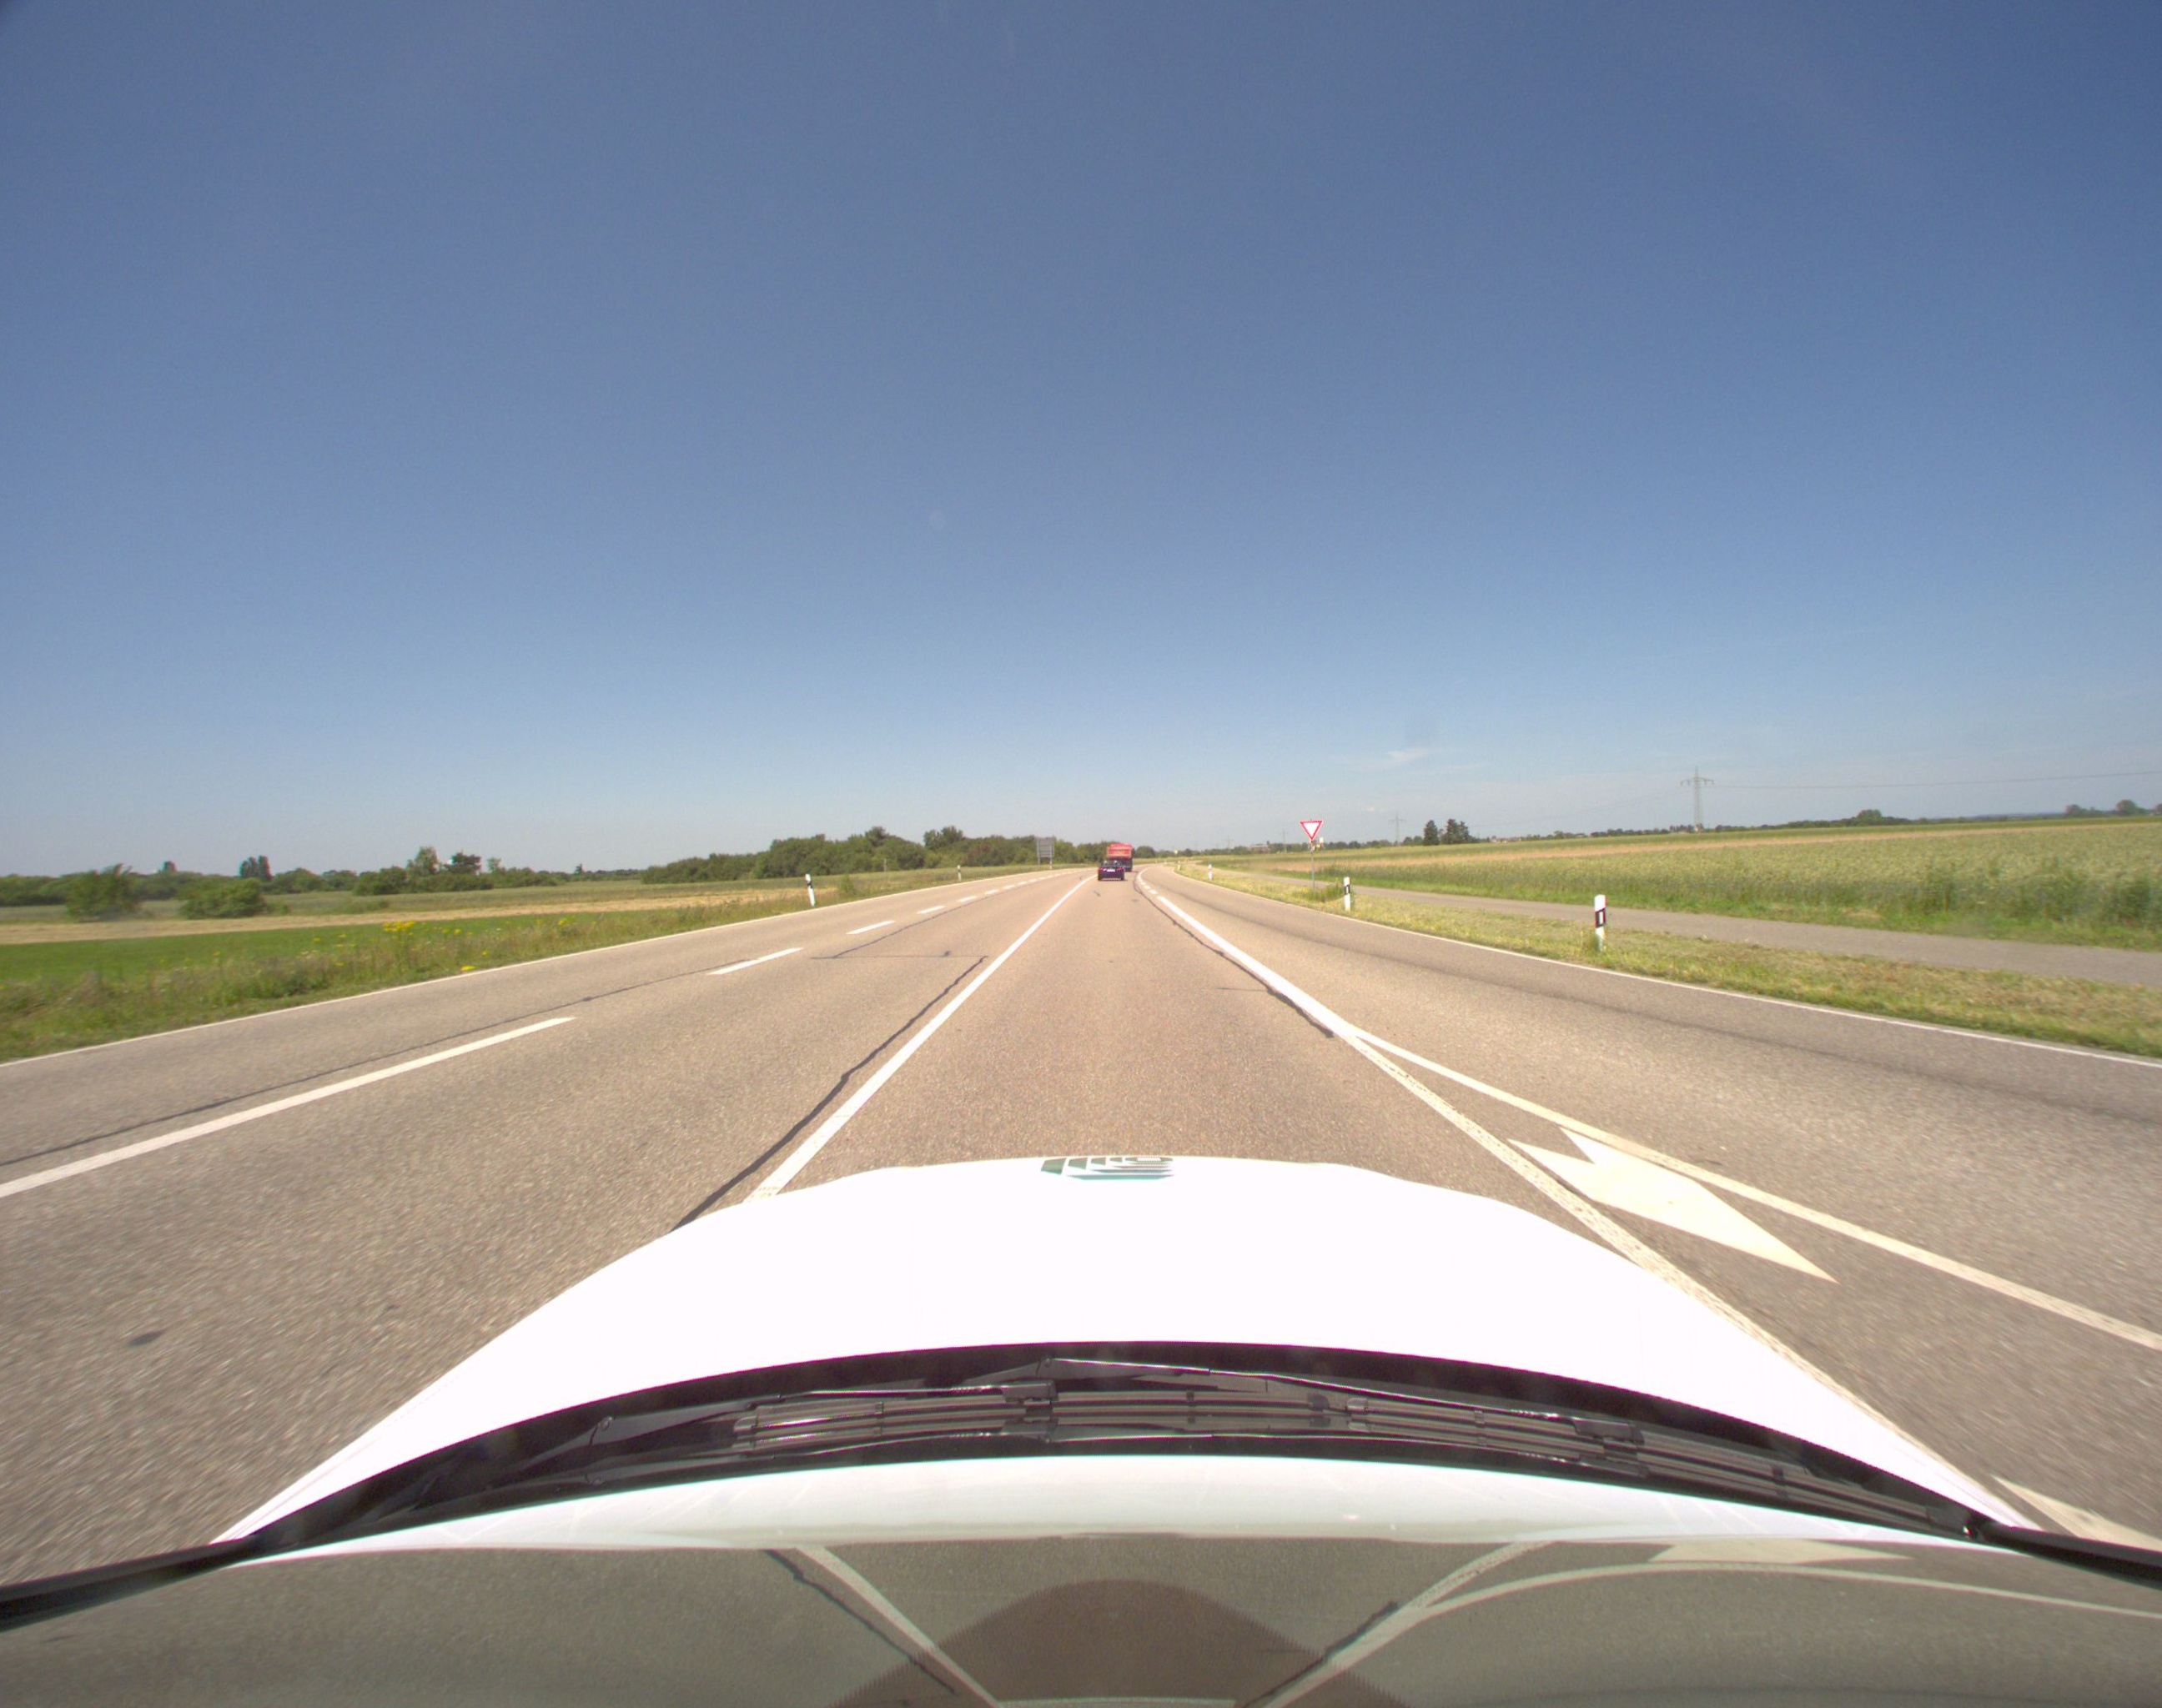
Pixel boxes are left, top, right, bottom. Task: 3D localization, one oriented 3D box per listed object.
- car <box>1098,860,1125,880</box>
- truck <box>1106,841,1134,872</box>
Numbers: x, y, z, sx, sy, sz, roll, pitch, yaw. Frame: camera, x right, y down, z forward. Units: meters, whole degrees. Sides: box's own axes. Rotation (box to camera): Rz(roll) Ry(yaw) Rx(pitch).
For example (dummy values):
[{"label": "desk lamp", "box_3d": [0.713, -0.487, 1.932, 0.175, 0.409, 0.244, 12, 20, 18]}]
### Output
[{"label": "car", "box_3d": [2.031, 1.046, 53.913, 1.737, 1.280, 4.003, -1, 0, 3]}, {"label": "truck", "box_3d": [4.290, 0.292, 88.317, 2.925, 3.089, 7.203, -1, -1, 4]}]
